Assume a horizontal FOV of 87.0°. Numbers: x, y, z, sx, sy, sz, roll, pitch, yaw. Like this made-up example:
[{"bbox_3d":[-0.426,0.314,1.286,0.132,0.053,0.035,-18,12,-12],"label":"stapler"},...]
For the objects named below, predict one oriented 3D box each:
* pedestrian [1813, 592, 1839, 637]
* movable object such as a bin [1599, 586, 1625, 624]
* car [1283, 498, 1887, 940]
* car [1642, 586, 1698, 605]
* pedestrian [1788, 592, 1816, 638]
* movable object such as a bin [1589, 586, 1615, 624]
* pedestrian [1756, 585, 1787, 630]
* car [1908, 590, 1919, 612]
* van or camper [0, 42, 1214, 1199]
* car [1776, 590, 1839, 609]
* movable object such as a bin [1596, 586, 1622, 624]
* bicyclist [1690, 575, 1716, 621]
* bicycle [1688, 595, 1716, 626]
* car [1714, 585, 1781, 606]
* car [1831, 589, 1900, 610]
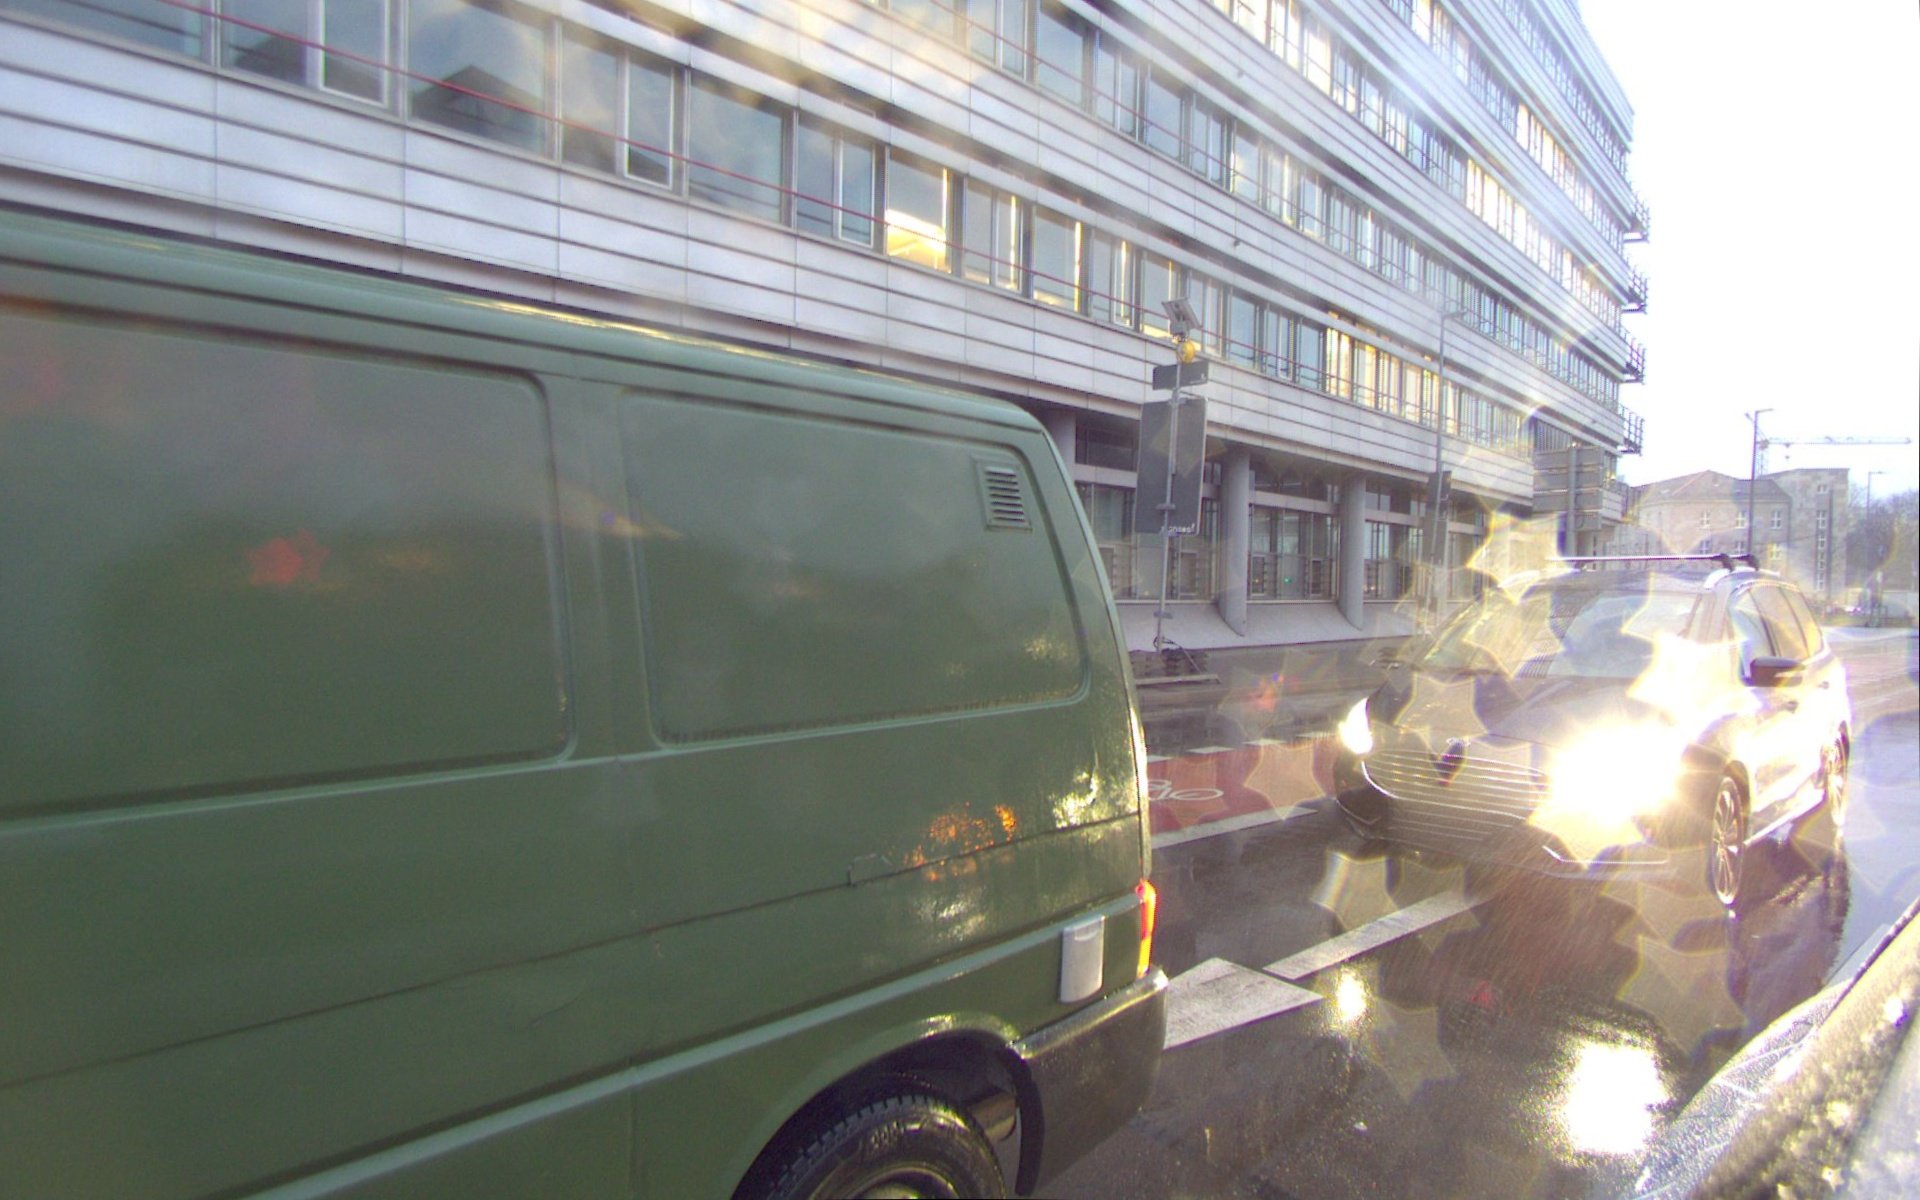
[{"bbox_3d":[33.311,0.539,38.910,0.870,1.689,0.615,0,3,-44],"label":"pedestrian"},{"bbox_3d":[26.059,0.190,40.464,0.826,1.495,0.665,0,1,-44],"label":"movable object such as a bin"},{"bbox_3d":[4.167,0.483,6.399,4.587,1.834,1.887,0,0,-39],"label":"car"},{"bbox_3d":[68.602,-0.421,97.847,1.958,1.693,4.013,0,1,-24],"label":"car"},{"bbox_3d":[32.822,0.575,39.442,0.870,1.723,0.650,0,3,-44],"label":"pedestrian"},{"bbox_3d":[24.825,0.176,39.146,0.826,1.446,0.665,0,1,-44],"label":"movable object such as a bin"},{"bbox_3d":[32.557,0.300,40.611,0.953,1.722,0.746,0,4,-44],"label":"pedestrian"},{"bbox_3d":[76.578,0.124,78.573,1.743,1.730,3.932,0,1,-26],"label":"car"},{"bbox_3d":[-1.689,0.472,1.307,4.341,1.931,1.760,0,0,-41],"label":"van or camper"},{"bbox_3d":[72.870,-0.070,87.038,1.743,1.556,3.775,1,2,-24],"label":"car"},{"bbox_3d":[25.485,0.192,39.730,0.826,1.446,0.665,0,1,-44],"label":"movable object such as a bin"},{"bbox_3d":[29.991,-0.078,40.860,0.793,1.820,0.670,0,2,-45],"label":"bicyclist"},{"bbox_3d":[29.866,0.399,40.736,0.679,1.213,1.733,0,0,45],"label":"bicycle"},{"bbox_3d":[71.059,-0.451,91.409,1.958,1.782,4.386,0,1,-24],"label":"car"},{"bbox_3d":[74.281,-0.059,83.063,1.743,1.556,3.775,1,2,-24],"label":"car"}]
